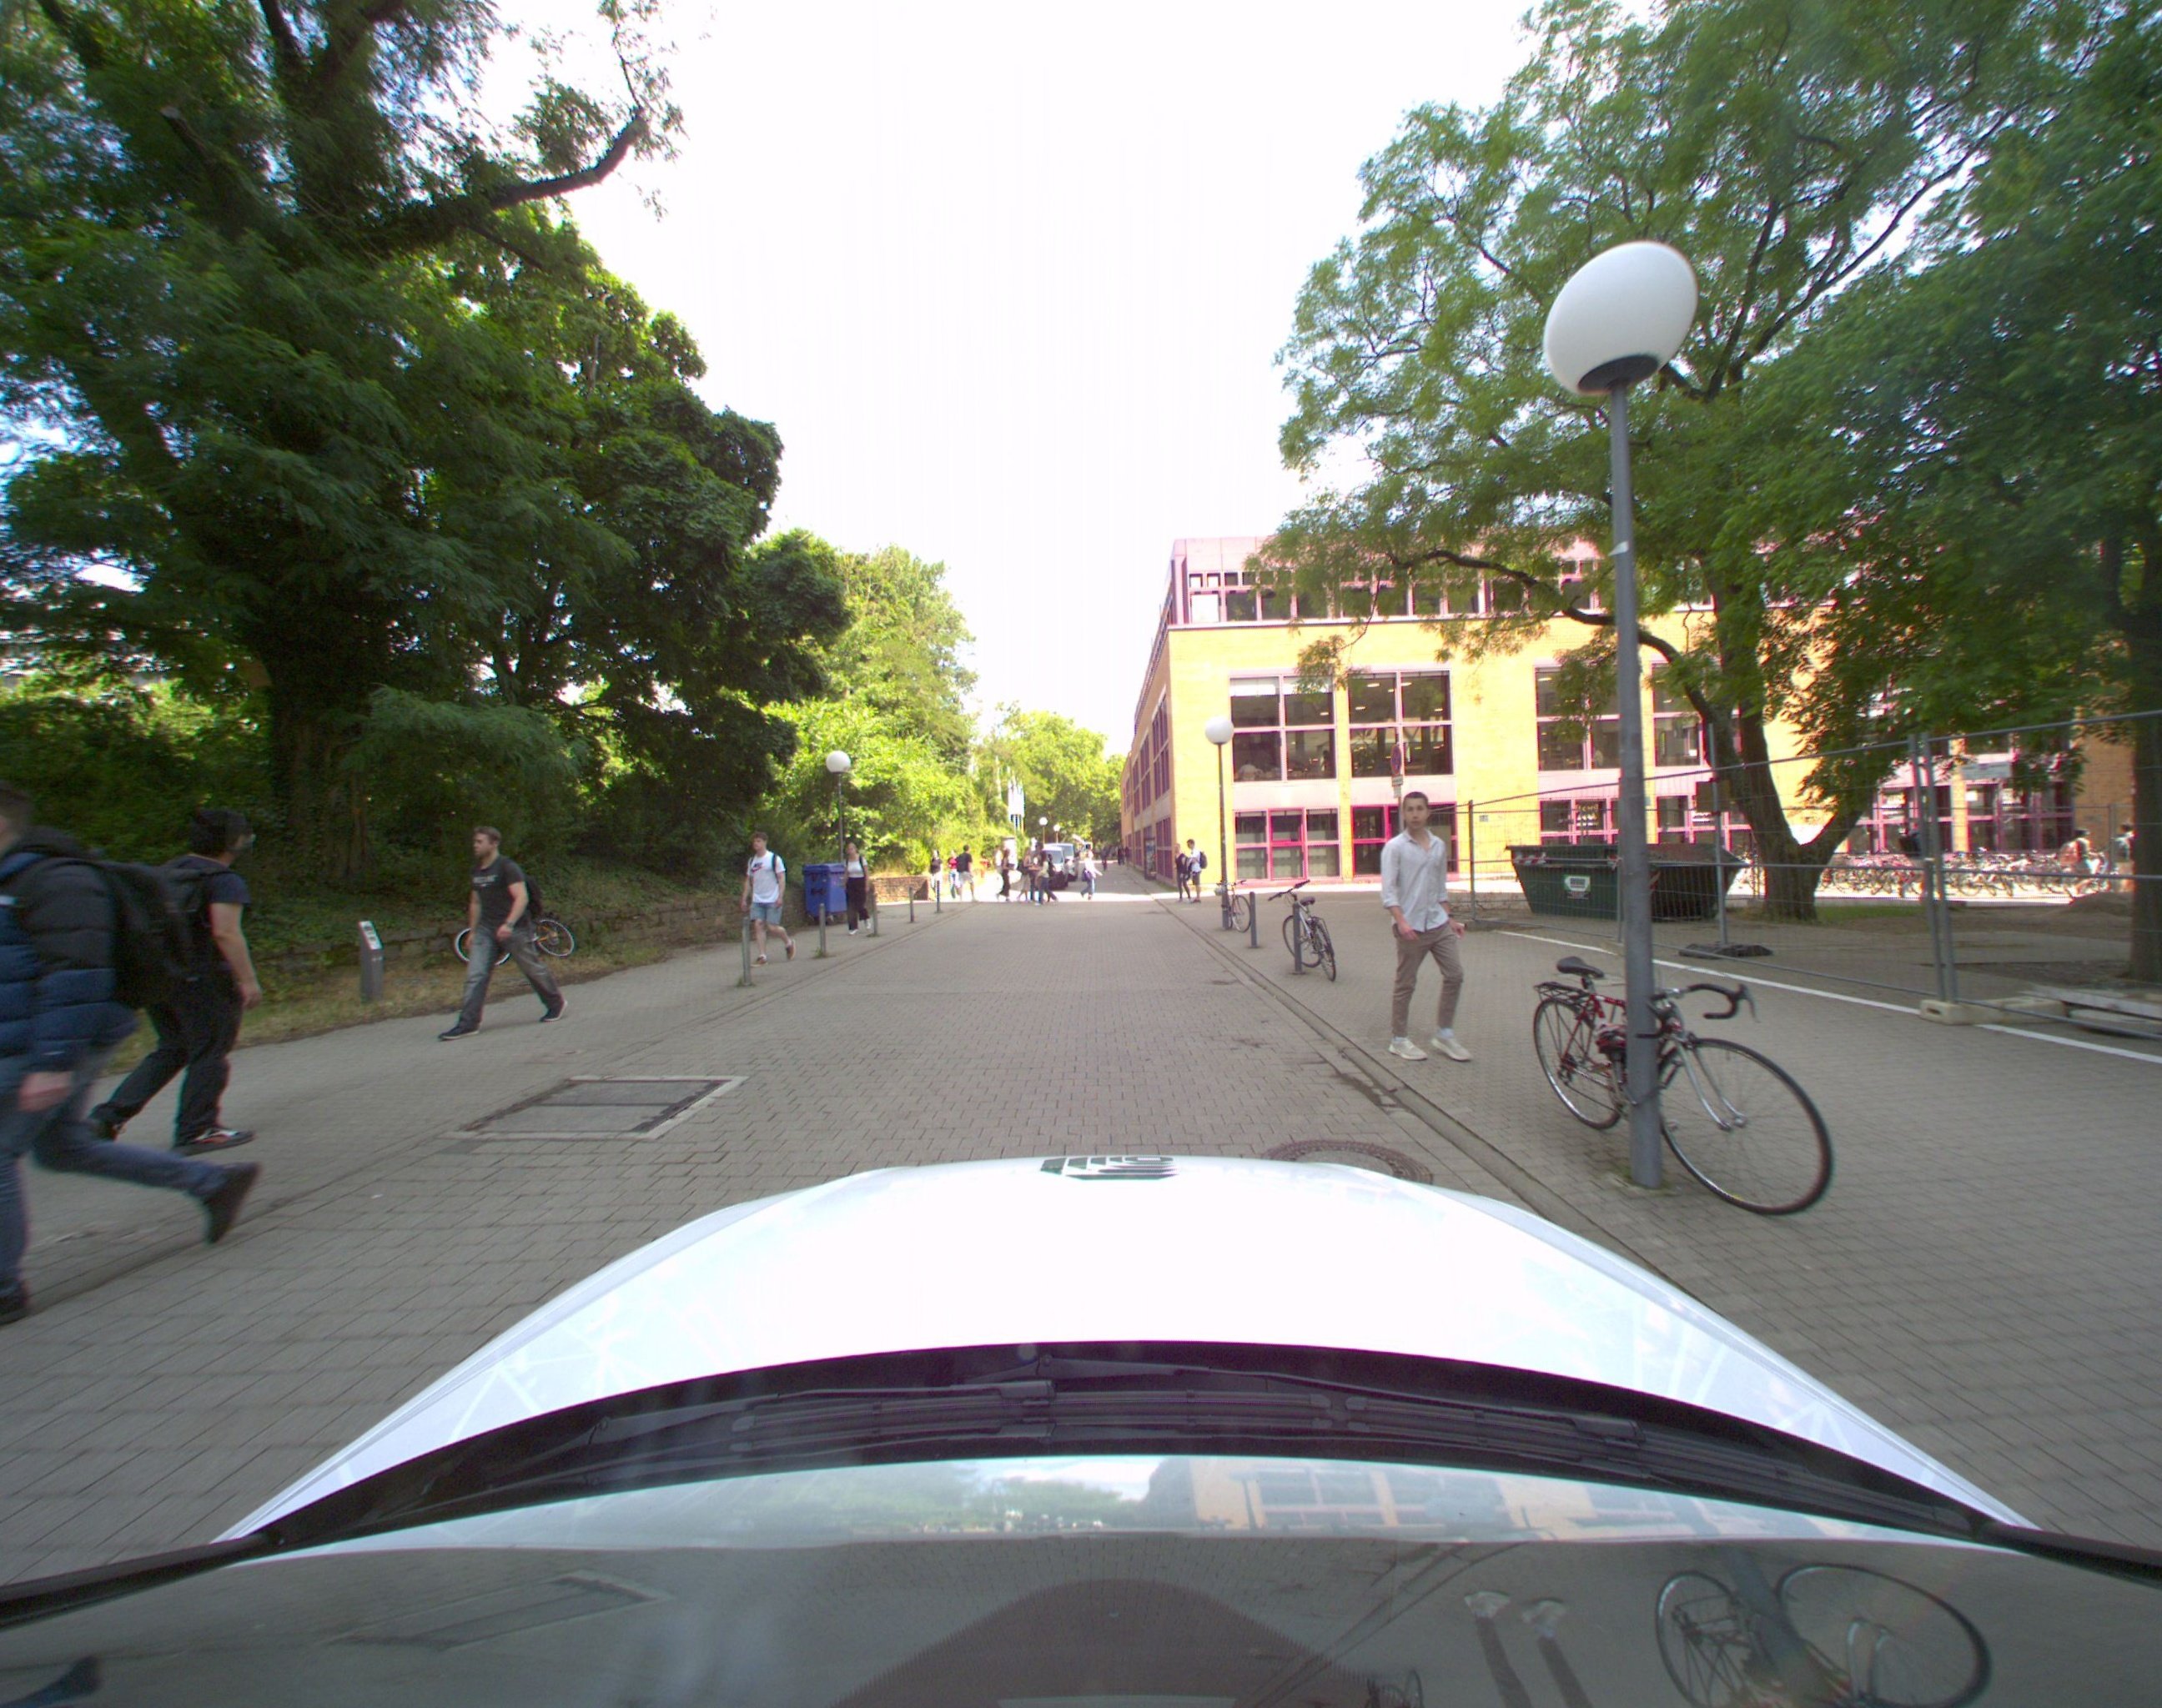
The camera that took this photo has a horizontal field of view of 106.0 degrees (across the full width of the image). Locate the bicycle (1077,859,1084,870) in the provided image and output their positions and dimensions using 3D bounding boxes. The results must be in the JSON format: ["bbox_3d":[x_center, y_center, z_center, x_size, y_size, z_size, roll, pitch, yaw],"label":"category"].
[{"bbox_3d":[-0.030,1.023,82.136,0.585,1.083,1.812,-1,0,-2],"label":"bicycle"}]

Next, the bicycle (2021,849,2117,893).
[{"bbox_3d":[27.110,0.460,22.355,1.990,1.169,0.545,0,0,0],"label":"bicycle"}]

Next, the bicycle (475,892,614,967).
[{"bbox_3d":[-7.383,1.012,11.313,0.418,0.910,1.747,-1,-2,16],"label":"bicycle"}]

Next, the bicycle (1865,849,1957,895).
[{"bbox_3d":[21.296,0.454,20.907,1.798,1.169,0.475,0,0,4],"label":"bicycle"}]

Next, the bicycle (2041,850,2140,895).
[{"bbox_3d":[26.950,0.493,21.755,1.990,1.169,0.545,0,0,0],"label":"bicycle"}]

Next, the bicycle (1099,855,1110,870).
[{"bbox_3d":[1.685,0.606,58.700,0.585,1.083,1.906,-1,0,-2],"label":"bicycle"}]

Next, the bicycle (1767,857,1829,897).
[{"bbox_3d":[21.169,0.671,24.040,1.809,1.169,0.471,0,0,-16],"label":"bicycle"}]

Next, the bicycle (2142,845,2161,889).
[{"bbox_3d":[29.557,0.339,21.656,1.990,1.169,0.545,0,0,0],"label":"bicycle"}]

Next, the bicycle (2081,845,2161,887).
[{"bbox_3d":[29.648,0.332,23.072,1.990,1.169,0.545,0,0,0],"label":"bicycle"}]

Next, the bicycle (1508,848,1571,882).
[{"bbox_3d":[15.168,0.360,26.958,1.804,1.110,0.523,0,0,-1],"label":"bicycle"}]

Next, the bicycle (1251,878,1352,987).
[{"bbox_3d":[2.521,0.858,9.507,0.706,1.093,1.749,-1,0,1],"label":"bicycle"}]

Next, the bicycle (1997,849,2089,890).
[{"bbox_3d":[27.381,0.434,23.191,1.990,1.169,0.545,0,0,0],"label":"bicycle"}]

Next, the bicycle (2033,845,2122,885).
[{"bbox_3d":[29.457,0.320,24.087,1.990,1.169,0.545,0,0,0],"label":"bicycle"}]

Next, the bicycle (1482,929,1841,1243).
[{"bbox_3d":[2.504,0.912,3.781,0.394,0.936,1.732,-4,0,1],"label":"bicycle"}]

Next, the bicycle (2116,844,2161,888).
[{"bbox_3d":[29.594,0.327,22.233,1.990,1.169,0.545,0,0,0],"label":"bicycle"}]

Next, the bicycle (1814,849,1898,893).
[{"bbox_3d":[20.950,0.447,22.032,1.799,1.169,0.474,0,0,1],"label":"bicycle"}]

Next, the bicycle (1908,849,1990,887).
[{"bbox_3d":[27.238,0.436,25.566,1.990,1.169,0.545,0,0,0],"label":"bicycle"}]

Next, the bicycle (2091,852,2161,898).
[{"bbox_3d":[27.379,0.545,21.019,1.990,1.169,0.545,0,0,0],"label":"bicycle"}]

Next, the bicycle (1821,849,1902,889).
[{"bbox_3d":[23.203,0.450,24.224,1.990,1.169,0.474,0,0,0],"label":"bicycle"}]

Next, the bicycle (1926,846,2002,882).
[{"bbox_3d":[29.434,0.322,27.159,1.990,1.169,0.545,0,0,0],"label":"bicycle"}]

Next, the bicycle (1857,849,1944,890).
[{"bbox_3d":[23.258,0.439,23.124,1.990,1.169,0.474,0,0,0],"label":"bicycle"}]

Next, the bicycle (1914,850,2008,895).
[{"bbox_3d":[23.181,0.474,21.461,1.990,1.169,0.474,0,0,0],"label":"bicycle"}]

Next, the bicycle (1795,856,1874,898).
[{"bbox_3d":[20.964,0.635,22.677,1.801,1.169,0.474,0,0,-1],"label":"bicycle"}]

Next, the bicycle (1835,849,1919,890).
[{"bbox_3d":[23.103,0.454,23.652,1.990,1.169,0.474,0,0,0],"label":"bicycle"}]

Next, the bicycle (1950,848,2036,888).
[{"bbox_3d":[27.323,0.413,24.421,1.990,1.169,0.545,0,0,0],"label":"bicycle"}]

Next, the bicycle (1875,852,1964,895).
[{"bbox_3d":[23.205,0.533,22.538,1.990,1.169,0.474,0,0,0],"label":"bicycle"}]

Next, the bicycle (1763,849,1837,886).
[{"bbox_3d":[23.101,0.428,26.183,1.990,1.169,0.474,0,0,-1],"label":"bicycle"}]

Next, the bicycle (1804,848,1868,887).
[{"bbox_3d":[23.161,0.408,24.980,2.000,1.169,0.472,0,0,-16],"label":"bicycle"}]

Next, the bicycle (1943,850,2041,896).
[{"bbox_3d":[23.307,0.482,20.846,1.990,1.169,0.474,0,0,0],"label":"bicycle"}]

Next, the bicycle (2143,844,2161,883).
[{"bbox_3d":[33.035,0.287,24.299,1.990,1.169,0.545,0,0,0],"label":"bicycle"}]

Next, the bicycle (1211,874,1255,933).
[{"bbox_3d":[2.798,0.889,15.094,0.449,0.962,1.740,-4,0,1],"label":"bicycle"}]

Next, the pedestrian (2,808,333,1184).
[{"bbox_3d":[-4.630,0.651,4.210,0.682,1.724,0.904,0,0,-1],"label":"pedestrian"}]

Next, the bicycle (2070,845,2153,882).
[{"bbox_3d":[32.974,0.303,26.078,1.990,1.169,0.545,0,0,0],"label":"bicycle"}]
